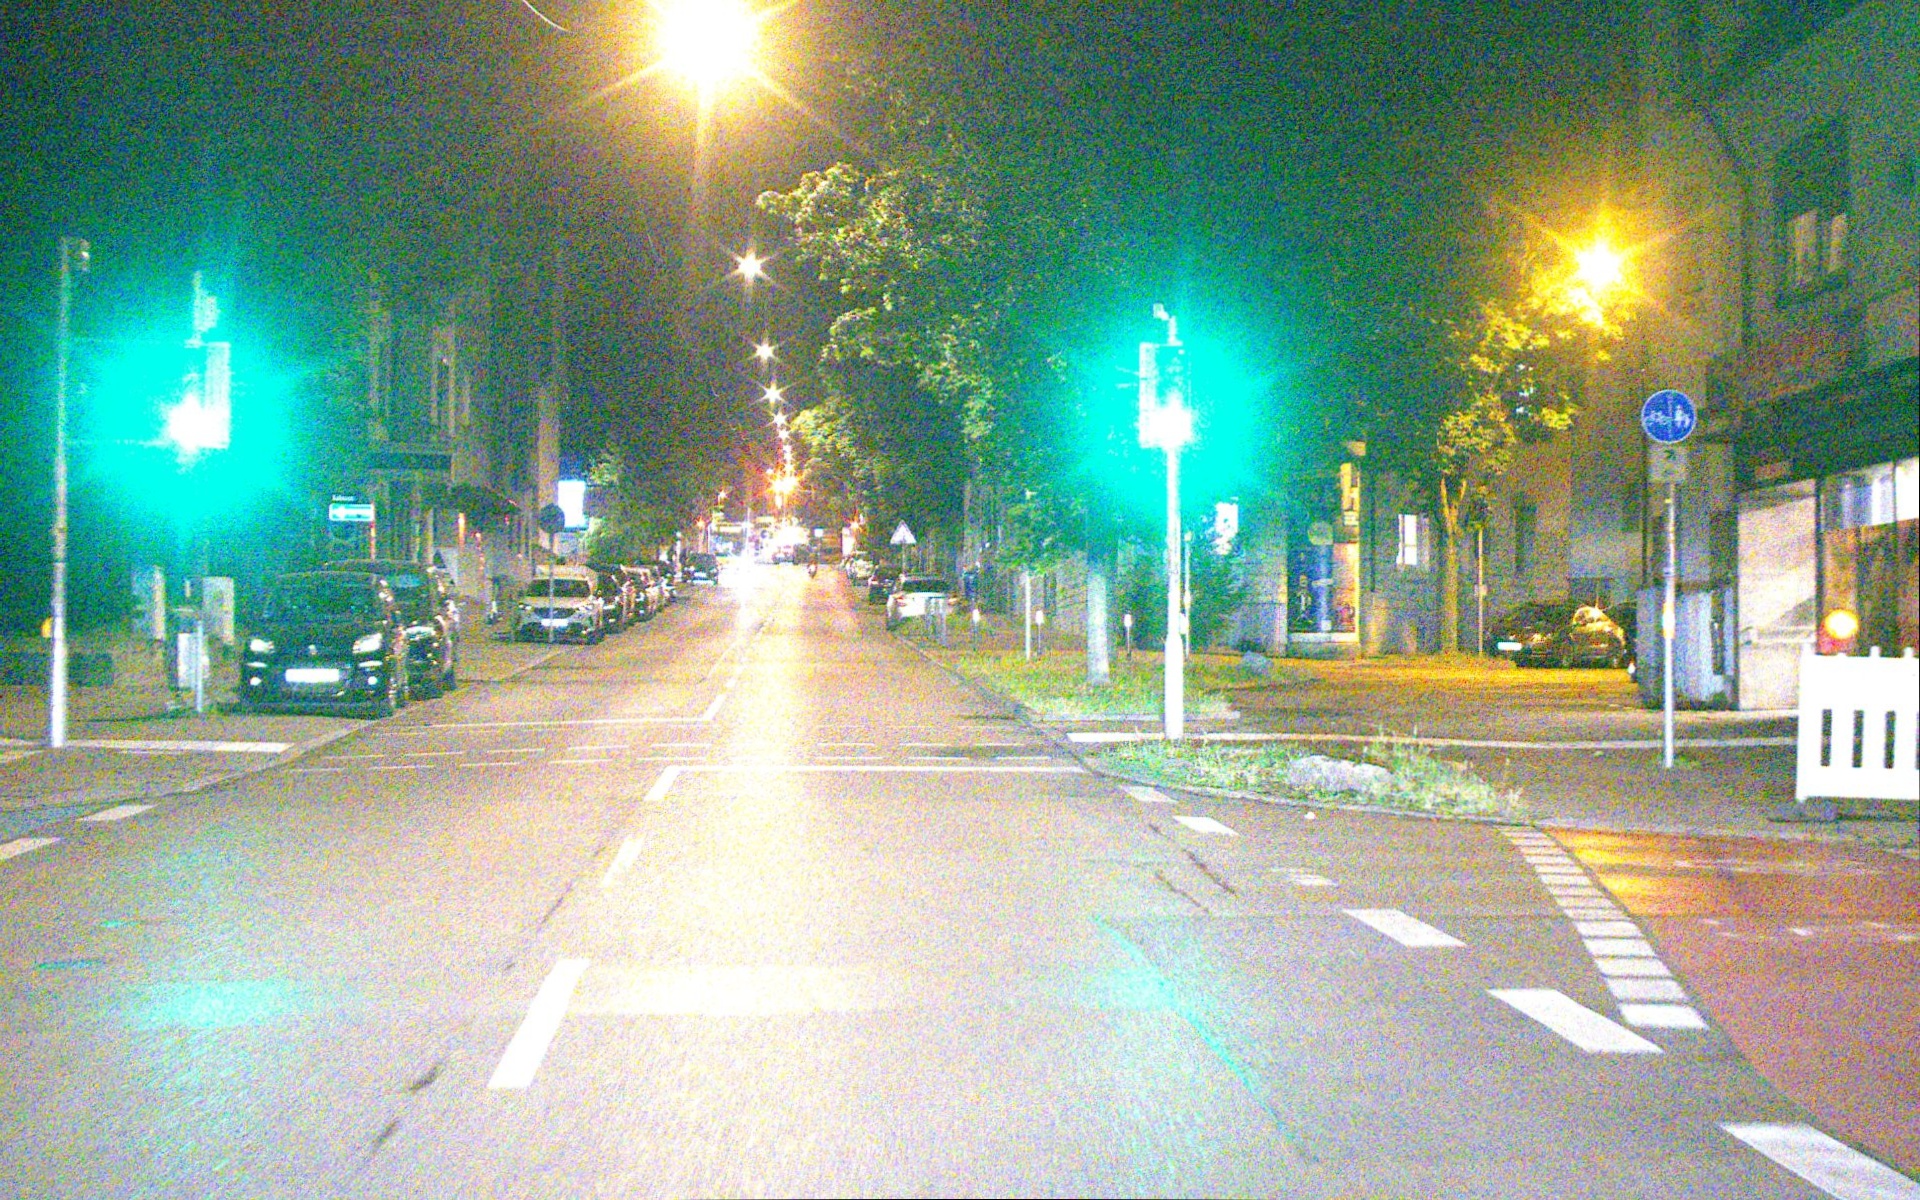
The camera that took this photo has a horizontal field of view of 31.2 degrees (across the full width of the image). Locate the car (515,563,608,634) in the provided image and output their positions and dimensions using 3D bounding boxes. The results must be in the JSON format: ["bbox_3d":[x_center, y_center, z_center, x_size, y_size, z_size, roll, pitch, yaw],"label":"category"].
[{"bbox_3d":[-8.662,-0.061,74.990,1.814,1.479,4.348,1,1,-4],"label":"car"}]

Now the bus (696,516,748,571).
[{"bbox_3d":[-14.508,-3.484,210.062,2.837,3.166,10.500,1,1,-3],"label":"bus"}]

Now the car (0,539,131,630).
[{"bbox_3d":[-16.373,-0.323,58.507,3.988,1.420,1.761,3,0,7],"label":"car"}]

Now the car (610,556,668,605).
[{"bbox_3d":[-10.429,-0.650,111.774,1.704,1.486,4.228,-1,1,-3],"label":"car"}]

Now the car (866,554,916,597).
[{"bbox_3d":[-2.575,-0.929,127.324,1.763,1.471,4.081,-1,2,-2],"label":"car"}]

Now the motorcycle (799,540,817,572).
[{"bbox_3d":[-8.415,-2.451,190.664,0.931,1.746,2.625,1,0,-2],"label":"motorcycle"}]

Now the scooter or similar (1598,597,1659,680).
[{"bbox_3d":[9.449,0.538,48.572,0.499,1.142,1.665,-2,-1,22],"label":"scooter or similar"}]

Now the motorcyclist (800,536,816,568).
[{"bbox_3d":[-8.413,-2.676,190.664,0.848,1.746,0.805,1,0,-2],"label":"motorcyclist"}]

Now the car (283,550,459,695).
[{"bbox_3d":[-7.355,0.234,43.298,1.848,1.644,4.673,1,1,-6],"label":"car"}]

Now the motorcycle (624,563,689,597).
[{"bbox_3d":[-10.429,-0.680,118.041,2.205,1.127,0.714,1,2,31],"label":"motorcycle"}]

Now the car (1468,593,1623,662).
[{"bbox_3d":[12.680,0.602,74.268,1.800,1.412,3.830,1,0,35],"label":"car"}]

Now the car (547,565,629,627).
[{"bbox_3d":[-9.242,-0.116,85.754,1.835,1.442,4.545,0,1,-4],"label":"car"}]

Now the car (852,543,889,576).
[{"bbox_3d":[-4.582,-2.099,176.083,1.812,1.588,4.274,-1,1,-2],"label":"car"}]

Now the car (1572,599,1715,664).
[{"bbox_3d":[15.761,0.728,79.167,1.800,1.412,3.830,1,0,35],"label":"car"}]

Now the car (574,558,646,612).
[{"bbox_3d":[-10.090,-0.429,99.349,1.863,1.486,4.281,1,0,-3],"label":"car"}]

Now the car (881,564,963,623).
[{"bbox_3d":[-1.010,-0.181,88.810,1.845,1.412,4.646,-2,0,-3],"label":"car"}]

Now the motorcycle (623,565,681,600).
[{"bbox_3d":[-10.391,-0.609,116.023,0.714,1.143,2.207,-1,2,-45],"label":"motorcycle"}]

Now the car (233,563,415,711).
[{"bbox_3d":[-6.902,0.378,37.598,1.647,1.509,3.703,1,0,-6],"label":"car"}]

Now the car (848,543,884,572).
[{"bbox_3d":[-5.196,-2.334,189.441,1.868,1.521,4.150,-1,1,-2],"label":"car"}]

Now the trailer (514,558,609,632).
[{"bbox_3d":[-9.226,-0.121,79.789,1.637,1.634,3.439,1,0,2],"label":"trailer"}]
